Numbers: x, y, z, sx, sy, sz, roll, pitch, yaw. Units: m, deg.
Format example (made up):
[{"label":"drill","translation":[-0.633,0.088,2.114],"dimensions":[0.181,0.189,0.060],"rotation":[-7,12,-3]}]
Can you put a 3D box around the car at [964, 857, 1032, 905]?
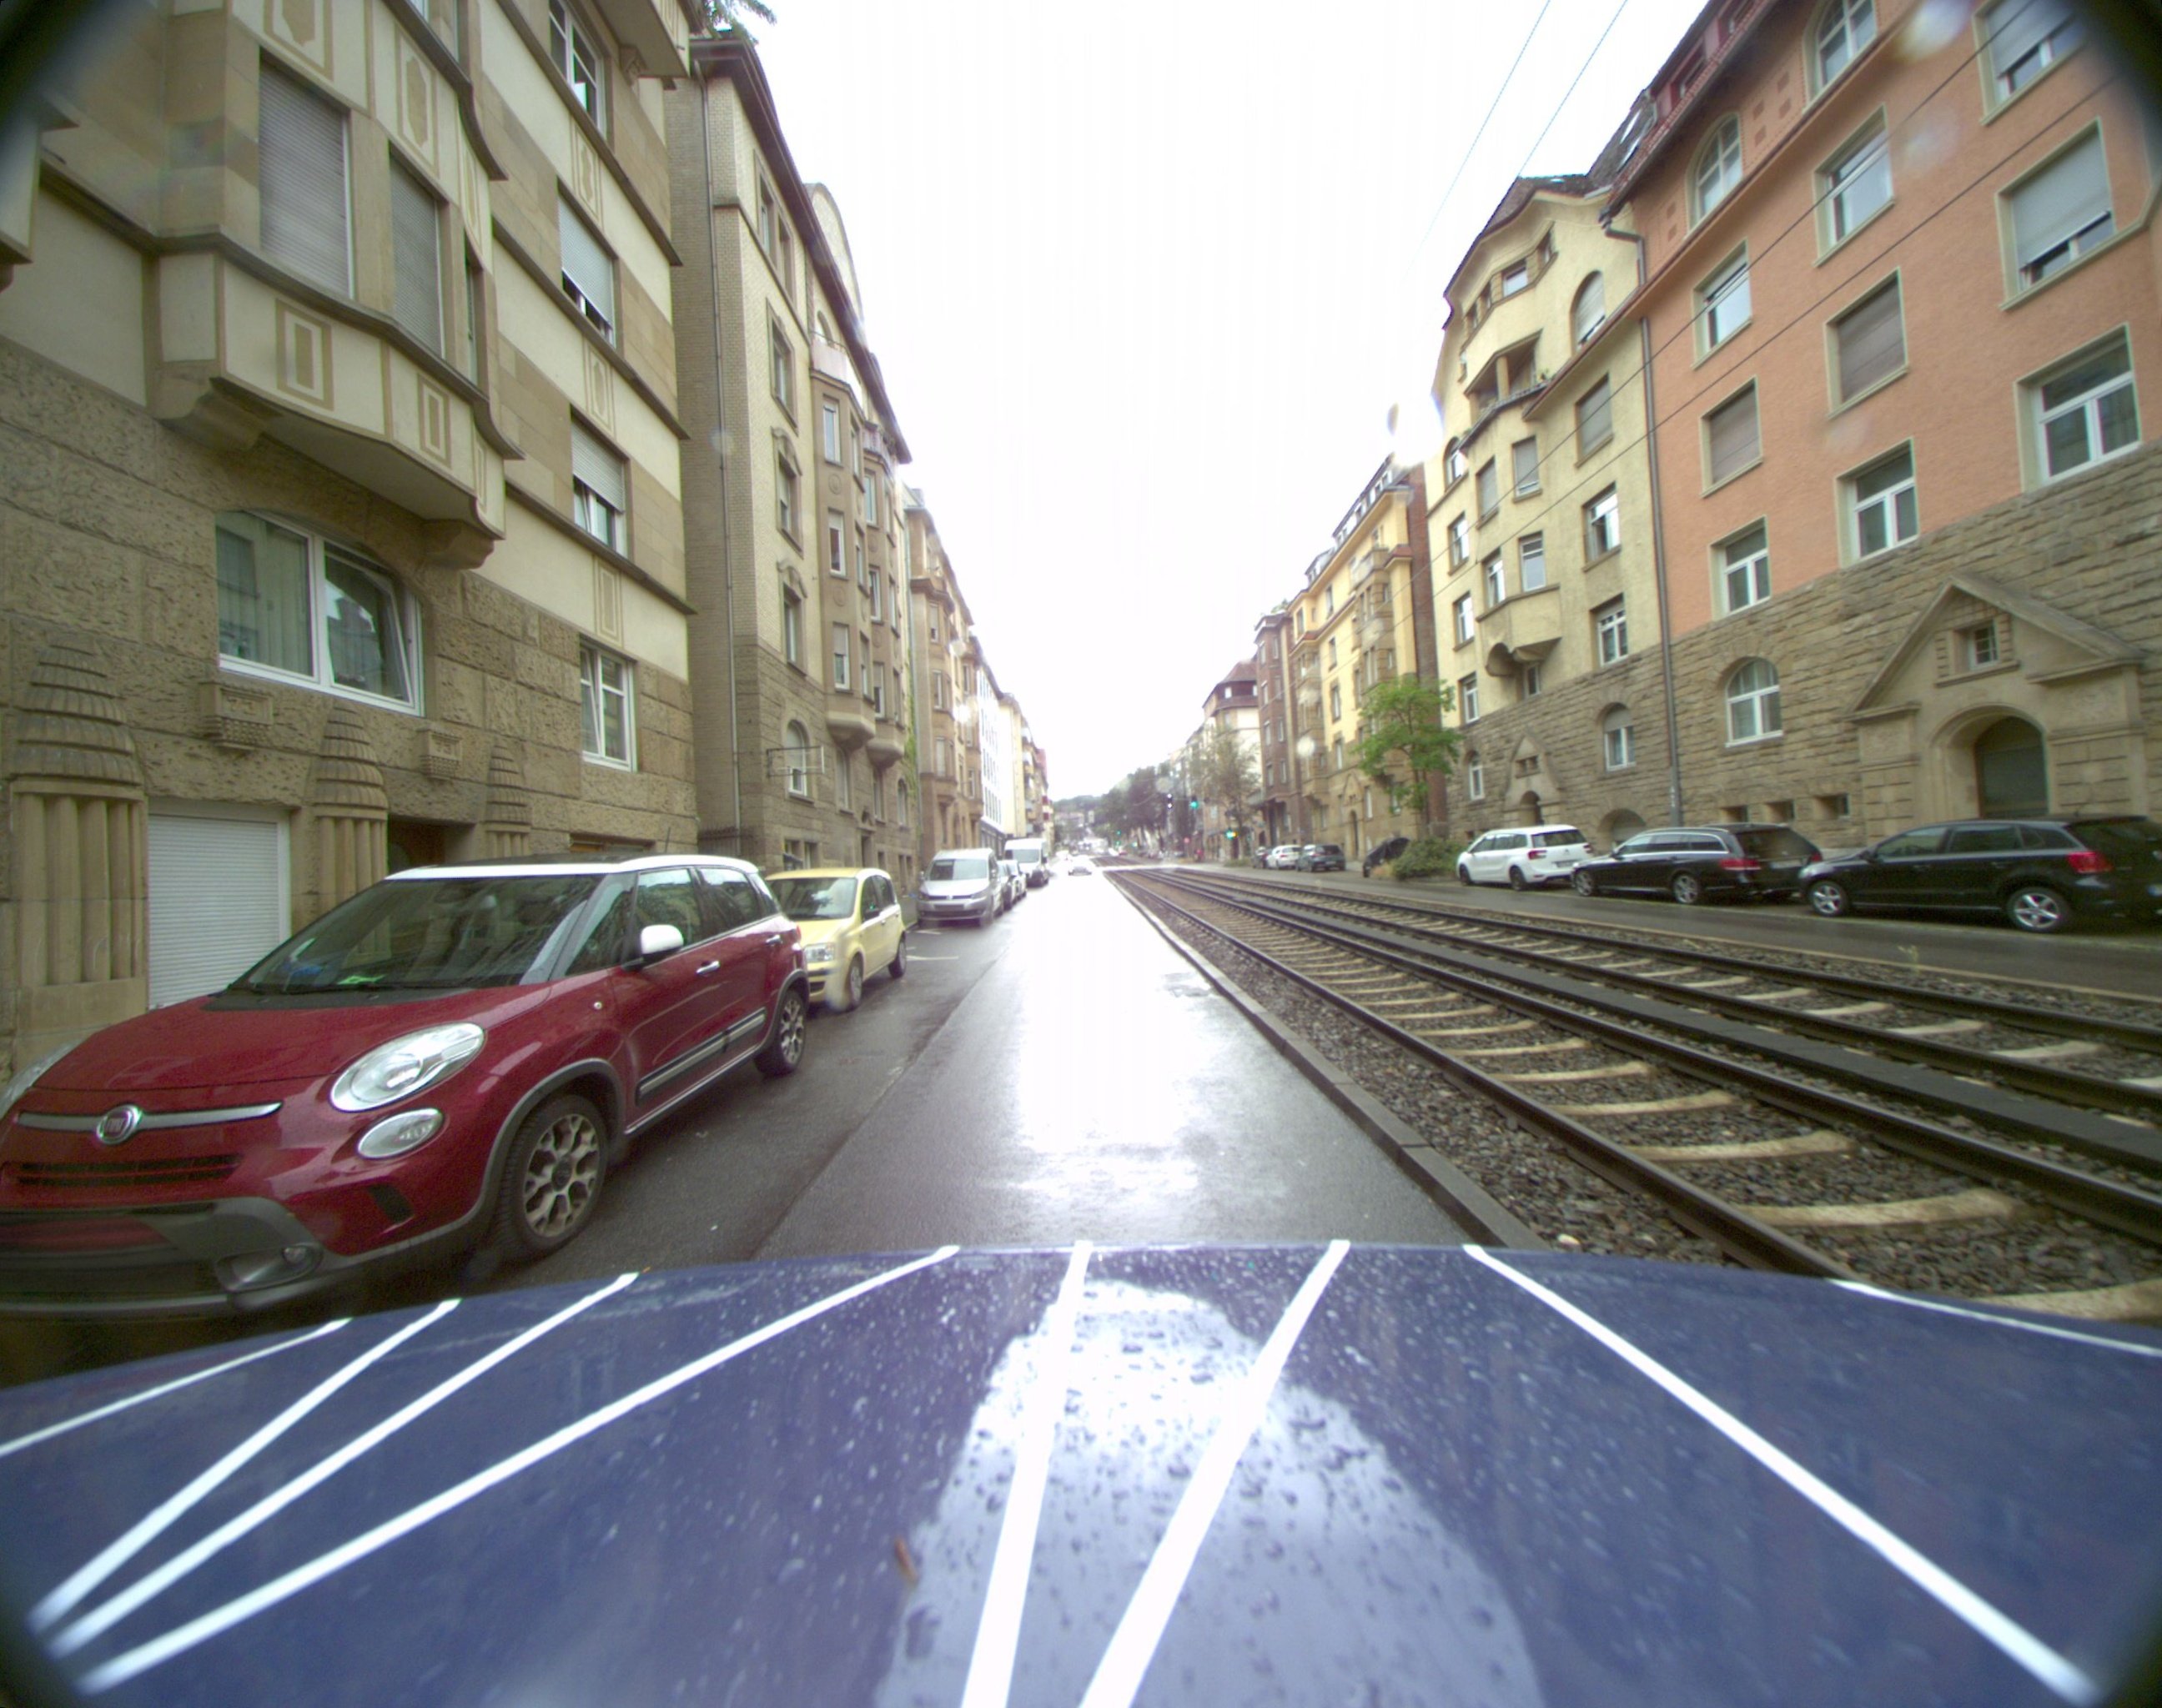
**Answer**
[{"label":"car","translation":[-2.996,0.932,28.172],"dimensions":[1.935,1.516,4.058],"rotation":[-3,0,1]}]

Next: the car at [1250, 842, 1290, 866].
[{"label":"car","translation":[12.573,-0.041,50.707],"dimensions":[1.759,1.419,3.712],"rotation":[-5,1,2]}]

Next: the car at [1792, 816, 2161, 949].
[{"label":"car","translation":[12.445,0.285,10.437],"dimensions":[1.760,1.396,3.694],"rotation":[-4,1,-2]}]

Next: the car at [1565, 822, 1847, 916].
[{"label":"car","translation":[12.204,0.232,15.343],"dimensions":[1.760,1.482,4.597],"rotation":[-4,1,-1]}]

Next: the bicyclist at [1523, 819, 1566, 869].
[{"label":"bicyclist","translation":[15.159,-0.322,24.851],"dimensions":[0.894,1.592,0.774],"rotation":[-2,1,1]}]

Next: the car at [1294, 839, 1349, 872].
[{"label":"car","translation":[12.494,0.040,39.664],"dimensions":[1.717,1.473,3.712],"rotation":[-5,1,2]}]

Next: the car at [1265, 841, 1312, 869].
[{"label":"car","translation":[12.437,0.033,45.726],"dimensions":[1.759,1.443,4.043],"rotation":[-5,1,2]}]

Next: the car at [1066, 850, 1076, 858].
[{"label":"car","translation":[-1.863,-0.011,144.200],"dimensions":[1.794,1.459,4.257],"rotation":[-2,1,1]}]

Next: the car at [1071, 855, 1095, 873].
[{"label":"car","translation":[0.164,0.722,56.481],"dimensions":[1.737,1.262,4.258],"rotation":[0,0,1]}]

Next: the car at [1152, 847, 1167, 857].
[{"label":"car","translation":[11.942,-0.304,115.492],"dimensions":[1.794,1.339,4.257],"rotation":[-2,1,0]}]

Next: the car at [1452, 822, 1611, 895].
[{"label":"car","translation":[12.227,0.088,21.006],"dimensions":[1.759,1.663,4.259],"rotation":[-5,1,0]}]

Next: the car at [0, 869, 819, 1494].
[{"label":"car","translation":[-2.981,0.948,4.069],"dimensions":[1.774,1.592,3.999],"rotation":[-1,0,-1]}]

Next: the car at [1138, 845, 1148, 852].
[{"label":"car","translation":[12.803,-1.110,157.515],"dimensions":[1.794,1.339,4.257],"rotation":[-2,1,0]}]

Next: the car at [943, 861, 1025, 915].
[{"label":"car","translation":[-2.920,0.988,23.739],"dimensions":[1.931,1.380,3.982],"rotation":[-3,0,1]}]

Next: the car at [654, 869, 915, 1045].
[{"label":"car","translation":[-3.191,1.009,8.953],"dimensions":[1.632,1.502,3.531],"rotation":[-3,0,-1]}]

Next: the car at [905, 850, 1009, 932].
[{"label":"car","translation":[-2.949,0.809,18.922],"dimensions":[1.811,1.758,3.962],"rotation":[-2,0,1]}]

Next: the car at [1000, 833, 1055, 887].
[{"label":"car","translation":[-2.710,0.275,39.903],"dimensions":[1.991,2.520,6.155],"rotation":[-3,0,3]}]

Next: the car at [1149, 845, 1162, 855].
[{"label":"car","translation":[12.436,-0.697,127.078],"dimensions":[1.794,1.609,4.257],"rotation":[-2,1,0]}]
